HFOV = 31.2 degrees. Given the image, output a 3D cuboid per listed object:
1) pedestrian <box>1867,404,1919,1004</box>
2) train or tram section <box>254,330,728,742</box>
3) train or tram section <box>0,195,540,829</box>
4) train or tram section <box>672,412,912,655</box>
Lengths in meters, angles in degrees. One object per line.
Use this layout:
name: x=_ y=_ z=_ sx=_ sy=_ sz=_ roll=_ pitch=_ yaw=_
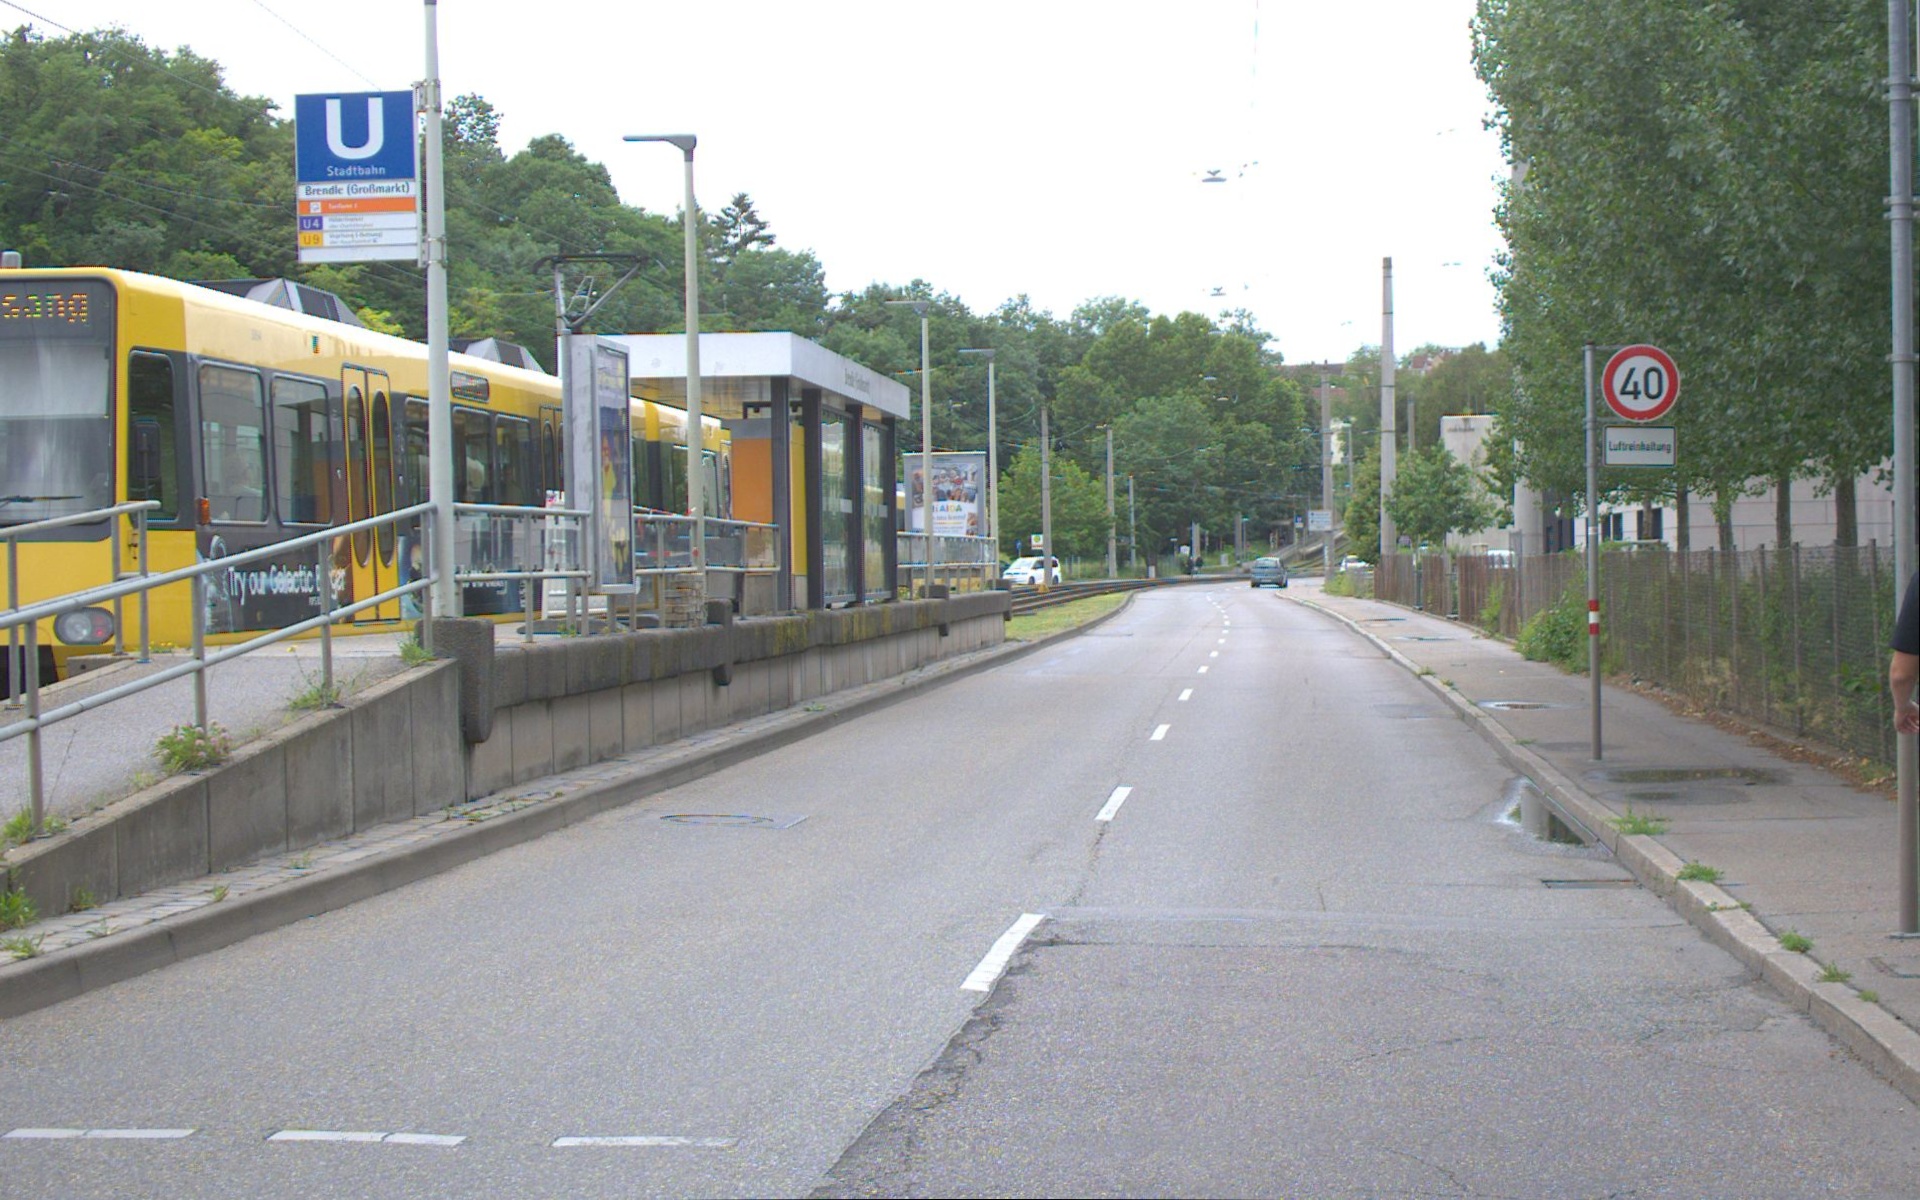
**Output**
pedestrian: x=3.283 y=0.329 z=10.980 sx=0.602 sy=1.861 sz=0.671 roll=-1 pitch=-3 yaw=6
train or tram section: x=-4.978 y=-0.761 z=39.457 sx=2.741 sy=3.953 sz=11.910 roll=-1 pitch=1 yaw=5
train or tram section: x=-6.005 y=-0.673 z=27.563 sx=2.741 sy=3.953 sz=11.910 roll=-1 pitch=1 yaw=5
train or tram section: x=-2.916 y=-1.253 z=63.274 sx=2.972 sy=4.051 sz=10.195 roll=-1 pitch=1 yaw=5
